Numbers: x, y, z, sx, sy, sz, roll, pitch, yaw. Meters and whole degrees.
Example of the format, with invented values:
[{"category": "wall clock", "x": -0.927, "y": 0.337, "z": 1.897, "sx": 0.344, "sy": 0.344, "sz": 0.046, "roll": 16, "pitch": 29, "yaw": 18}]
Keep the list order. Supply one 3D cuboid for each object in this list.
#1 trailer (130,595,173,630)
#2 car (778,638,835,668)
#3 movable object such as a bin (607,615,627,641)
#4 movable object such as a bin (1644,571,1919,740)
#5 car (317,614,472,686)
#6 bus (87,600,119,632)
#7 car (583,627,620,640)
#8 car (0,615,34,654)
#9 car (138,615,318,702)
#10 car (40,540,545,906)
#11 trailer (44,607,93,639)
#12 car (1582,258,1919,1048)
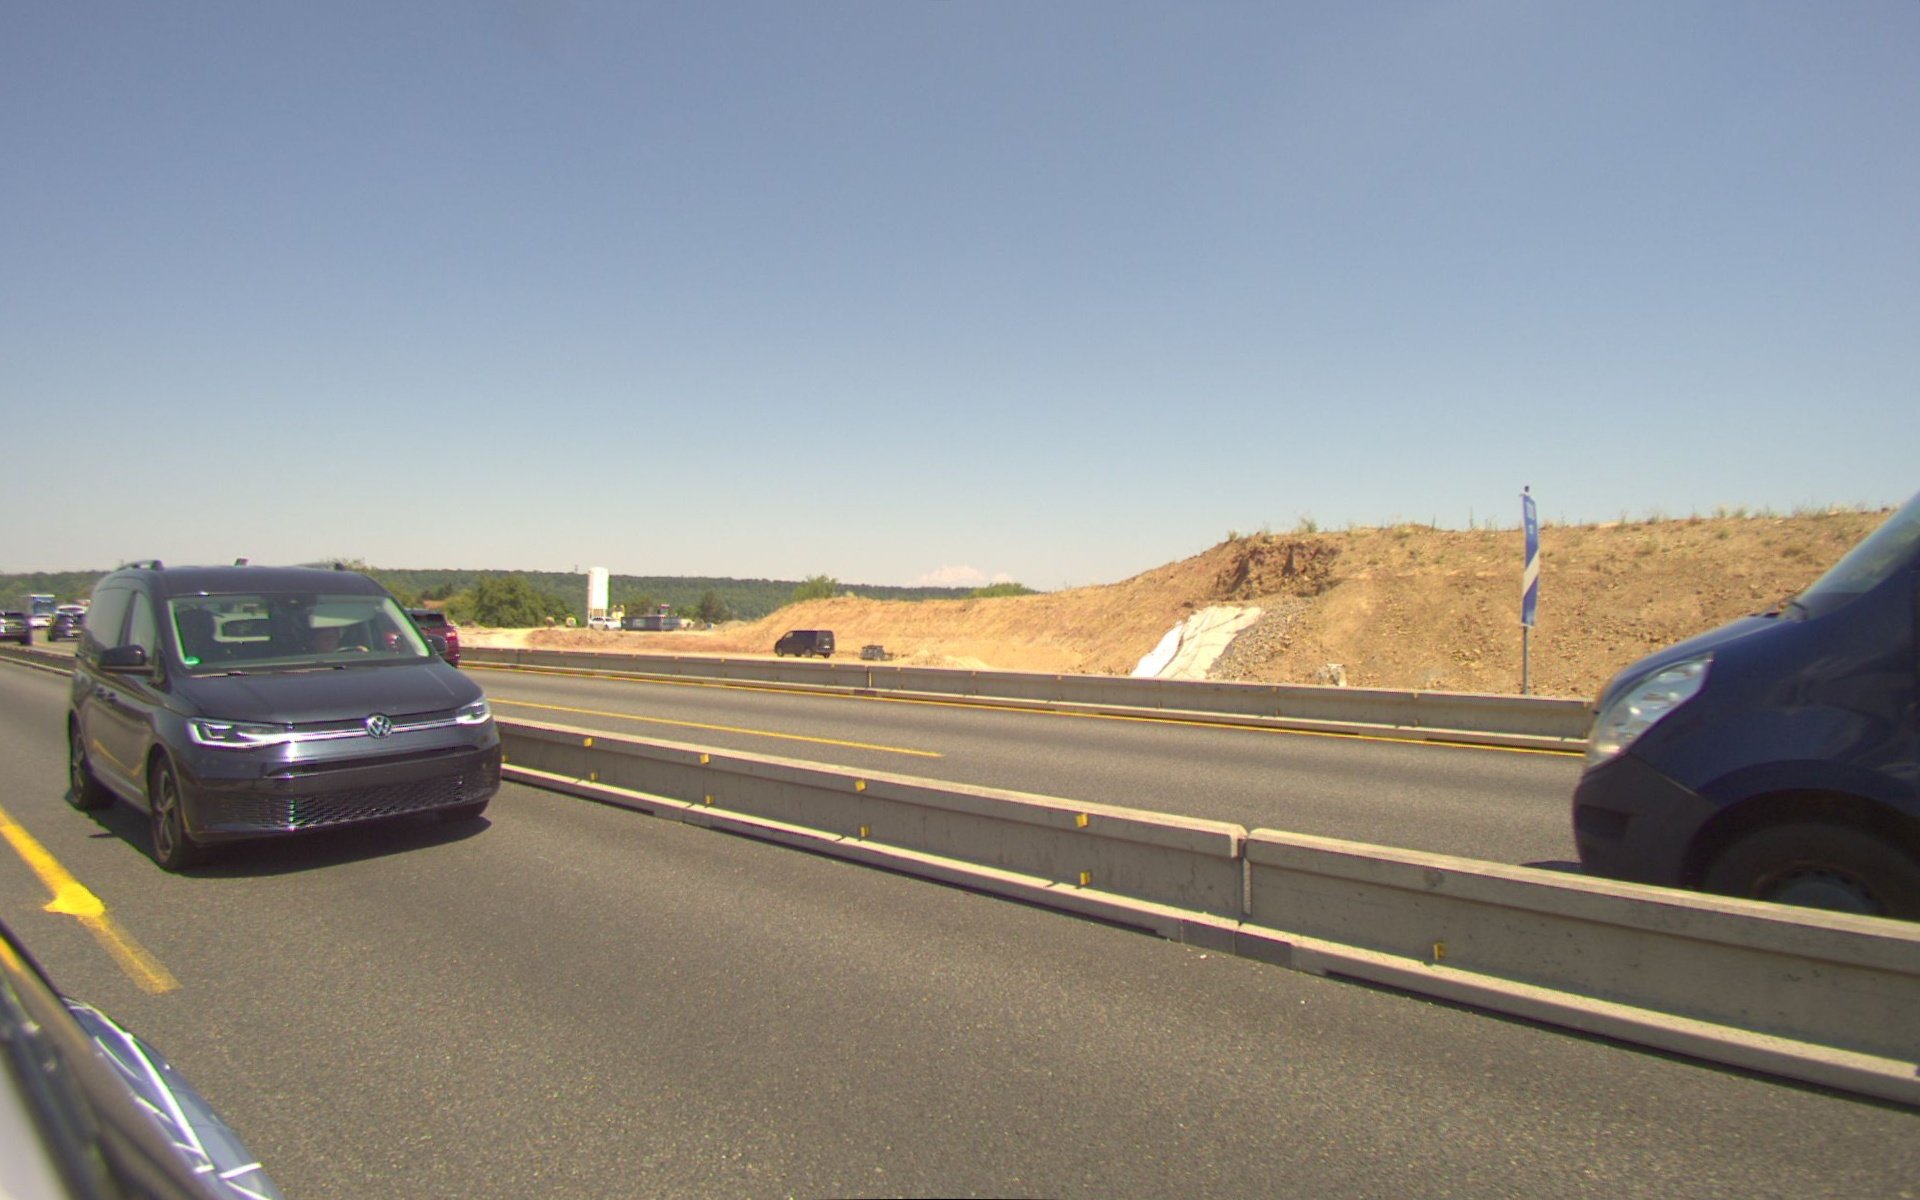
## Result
[{"category": "trailer", "x": -101.424, "y": 1.695, "z": 127.140, "sx": 2.722, "sy": 4.146, "sz": 14.015, "roll": 1, "pitch": -2, "yaw": -33}, {"category": "car", "x": -11.083, "y": 3.791, "z": 72.799, "sx": 3.998, "sy": 2.029, "sz": 1.973, "roll": -1, "pitch": -2, "yaw": 41}, {"category": "movable object such as a bin", "x": -42.689, "y": 3.450, "z": 125.939, "sx": 1.965, "sy": 3.165, "sz": 4.500, "roll": 1, "pitch": -2, "yaw": -25}, {"category": "movable object such as a bin", "x": 14.685, "y": 0.828, "z": 15.555, "sx": 6.742, "sy": 2.480, "sz": 1.684, "roll": -1, "pitch": -2, "yaw": 42}, {"category": "car", "x": -13.012, "y": 1.089, "z": 23.164, "sx": 4.390, "sy": 1.490, "sz": 1.707, "roll": -1, "pitch": -2, "yaw": 41}, {"category": "bus", "x": -86.797, "y": 1.641, "z": 102.412, "sx": 2.320, "sy": 3.149, "sz": 7.239, "roll": 1, "pitch": -2, "yaw": -41}, {"category": "car", "x": -38.026, "y": 3.523, "z": 107.215, "sx": 4.442, "sy": 1.420, "sz": 1.596, "roll": -1, "pitch": -2, "yaw": 39}, {"category": "car", "x": -44.840, "y": 1.585, "z": 47.331, "sx": 5.037, "sy": 1.755, "sz": 1.753, "roll": -1, "pitch": -2, "yaw": 42}, {"category": "car", "x": -13.827, "y": 1.020, "z": 19.009, "sx": 4.668, "sy": 1.453, "sz": 1.661, "roll": -1, "pitch": -2, "yaw": 40}, {"category": "car", "x": -4.986, "y": 0.636, "z": 7.251, "sx": 4.601, "sy": 1.803, "sz": 1.901, "roll": -1, "pitch": -1, "yaw": 42}, {"category": "trailer", "x": -59.585, "y": 1.561, "z": 67.622, "sx": 2.106, "sy": 1.997, "sz": 5.238, "roll": 3, "pitch": -3, "yaw": -44}, {"category": "car", "x": 4.980, "y": 0.147, "z": 2.738, "sx": 5.355, "sy": 2.487, "sz": 1.935, "roll": -1, "pitch": -2, "yaw": 42}]
